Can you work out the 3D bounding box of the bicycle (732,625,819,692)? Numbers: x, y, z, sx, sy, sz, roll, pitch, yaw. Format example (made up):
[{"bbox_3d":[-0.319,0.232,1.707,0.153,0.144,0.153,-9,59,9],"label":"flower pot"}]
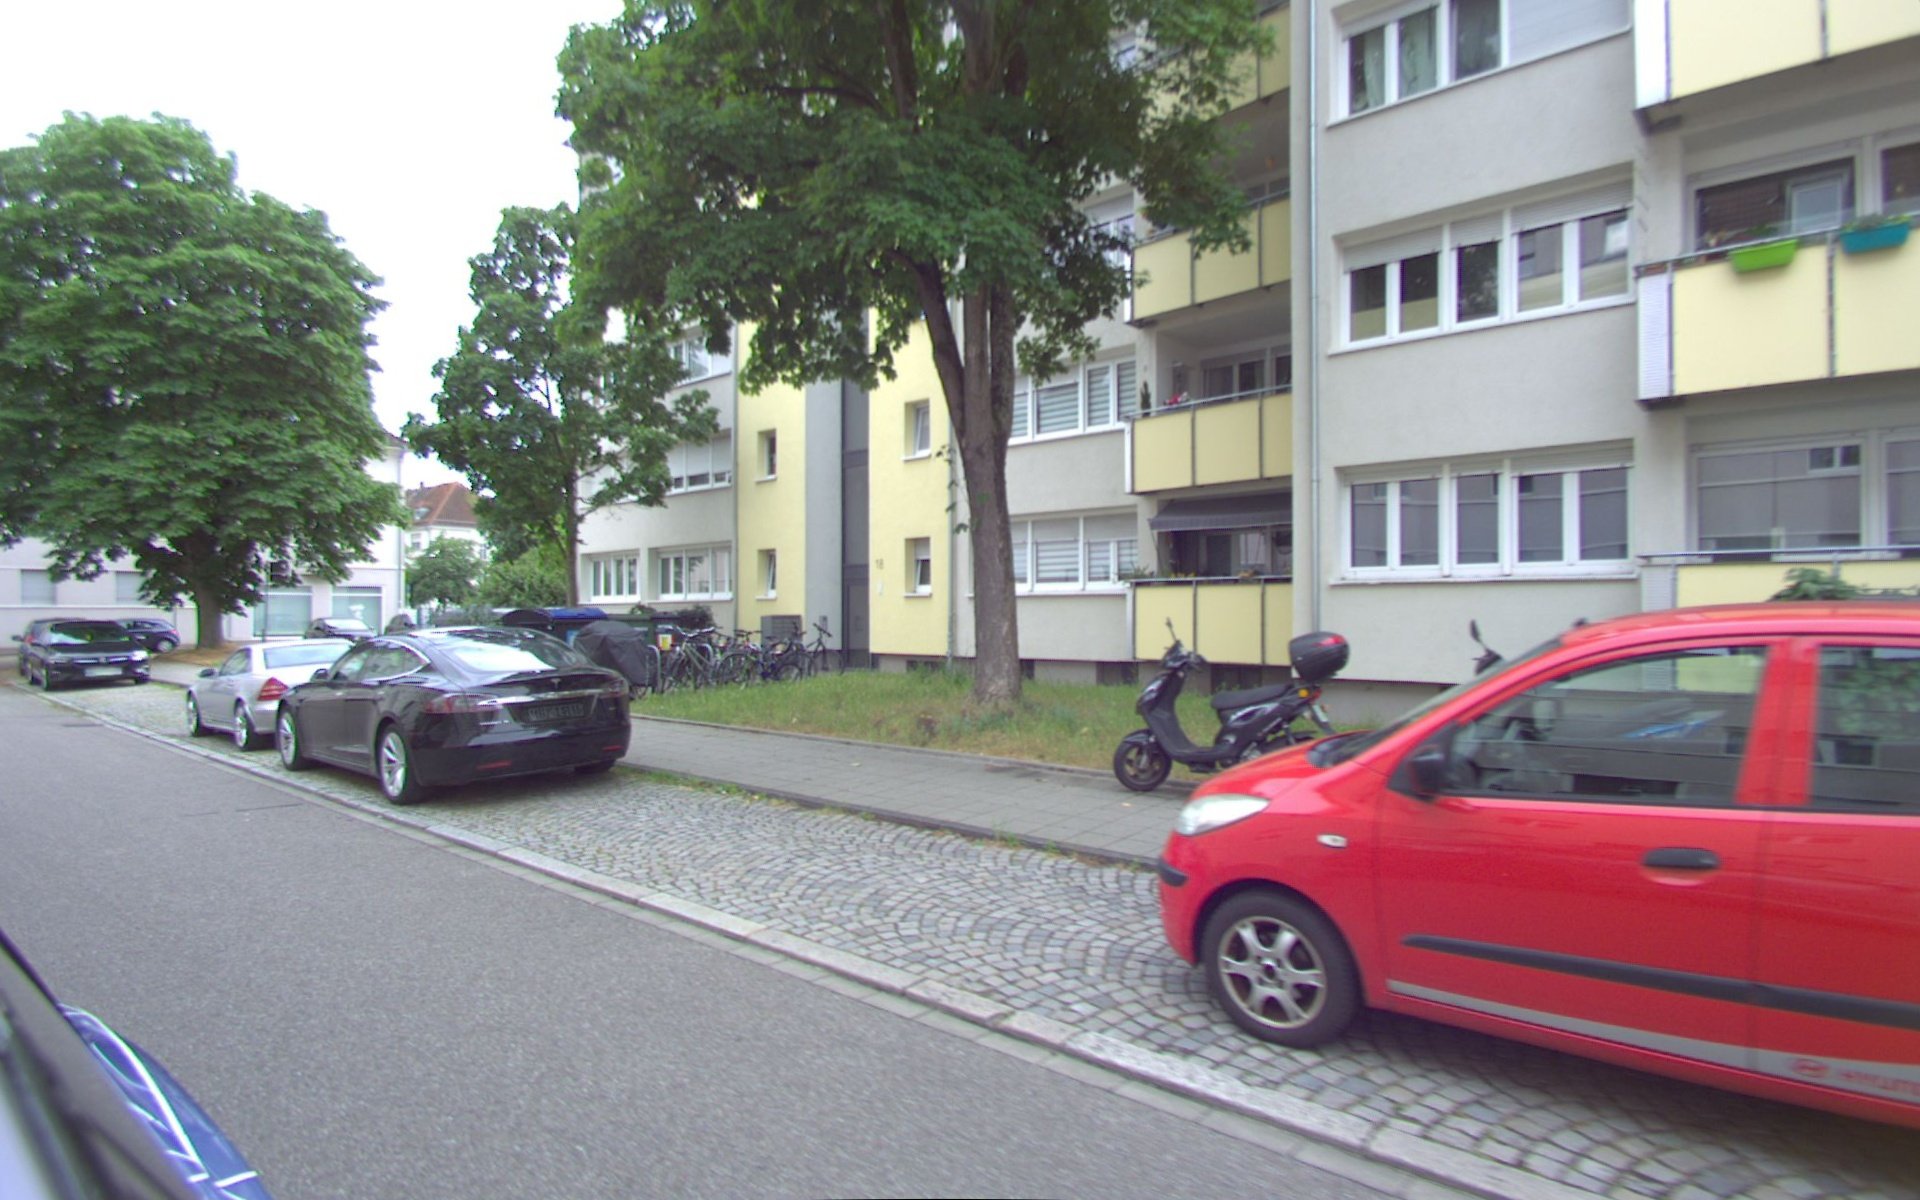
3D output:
[{"bbox_3d":[-3.240,0.996,17.680,1.774,1.109,0.545,-1,-1,42],"label":"bicycle"}]

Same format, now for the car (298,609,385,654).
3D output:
[{"bbox_3d":[-22.817,1.146,37.273,3.843,1.589,1.804,-1,-2,44],"label":"car"}]

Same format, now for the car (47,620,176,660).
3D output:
[{"bbox_3d":[-34.799,1.611,41.571,1.762,1.501,3.883,-2,-1,41],"label":"car"}]

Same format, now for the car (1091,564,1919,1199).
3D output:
[{"bbox_3d":[2.415,0.704,3.379,3.639,1.580,1.547,-2,1,41],"label":"car"}]

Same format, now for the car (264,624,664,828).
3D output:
[{"bbox_3d":[-4.941,0.997,9.732,4.627,1.432,1.822,-1,0,42],"label":"car"}]

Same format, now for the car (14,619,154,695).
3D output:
[{"bbox_3d":[-20.214,1.242,23.281,4.833,1.475,1.848,-1,1,42],"label":"car"}]

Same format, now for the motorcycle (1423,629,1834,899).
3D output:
[{"bbox_3d":[3.683,0.812,5.681,1.832,1.239,0.629,-1,3,42],"label":"motorcycle"}]

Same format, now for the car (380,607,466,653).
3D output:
[{"bbox_3d":[-21.051,1.189,39.633,1.888,1.710,4.070,0,-2,-45],"label":"car"}]

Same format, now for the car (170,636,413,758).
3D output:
[{"bbox_3d":[-8.910,1.166,13.361,4.014,1.268,1.679,-1,0,42],"label":"car"}]

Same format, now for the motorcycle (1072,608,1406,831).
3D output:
[{"bbox_3d":[1.939,0.772,7.322,2.228,1.366,0.670,-2,1,41],"label":"motorcycle"}]

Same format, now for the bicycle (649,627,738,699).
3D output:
[{"bbox_3d":[-4.425,1.011,16.715,1.774,1.109,0.545,-1,-1,42],"label":"bicycle"}]

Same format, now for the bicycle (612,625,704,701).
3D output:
[{"bbox_3d":[-4.723,0.949,15.765,1.774,1.109,0.545,-1,-1,42],"label":"bicycle"}]

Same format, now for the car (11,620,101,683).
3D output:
[{"bbox_3d":[-24.008,1.317,26.839,3.593,1.505,1.507,-1,1,44],"label":"car"}]

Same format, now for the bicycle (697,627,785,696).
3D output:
[{"bbox_3d":[-3.755,1.020,17.304,1.774,1.109,0.545,-1,-1,42],"label":"bicycle"}]

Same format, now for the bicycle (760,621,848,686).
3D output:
[{"bbox_3d":[-2.800,0.931,18.057,1.774,1.109,0.545,-1,-1,42],"label":"bicycle"}]

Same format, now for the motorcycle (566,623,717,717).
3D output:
[{"bbox_3d":[-4.671,0.953,14.652,3.066,1.232,0.673,-1,-1,43],"label":"motorcycle"}]
